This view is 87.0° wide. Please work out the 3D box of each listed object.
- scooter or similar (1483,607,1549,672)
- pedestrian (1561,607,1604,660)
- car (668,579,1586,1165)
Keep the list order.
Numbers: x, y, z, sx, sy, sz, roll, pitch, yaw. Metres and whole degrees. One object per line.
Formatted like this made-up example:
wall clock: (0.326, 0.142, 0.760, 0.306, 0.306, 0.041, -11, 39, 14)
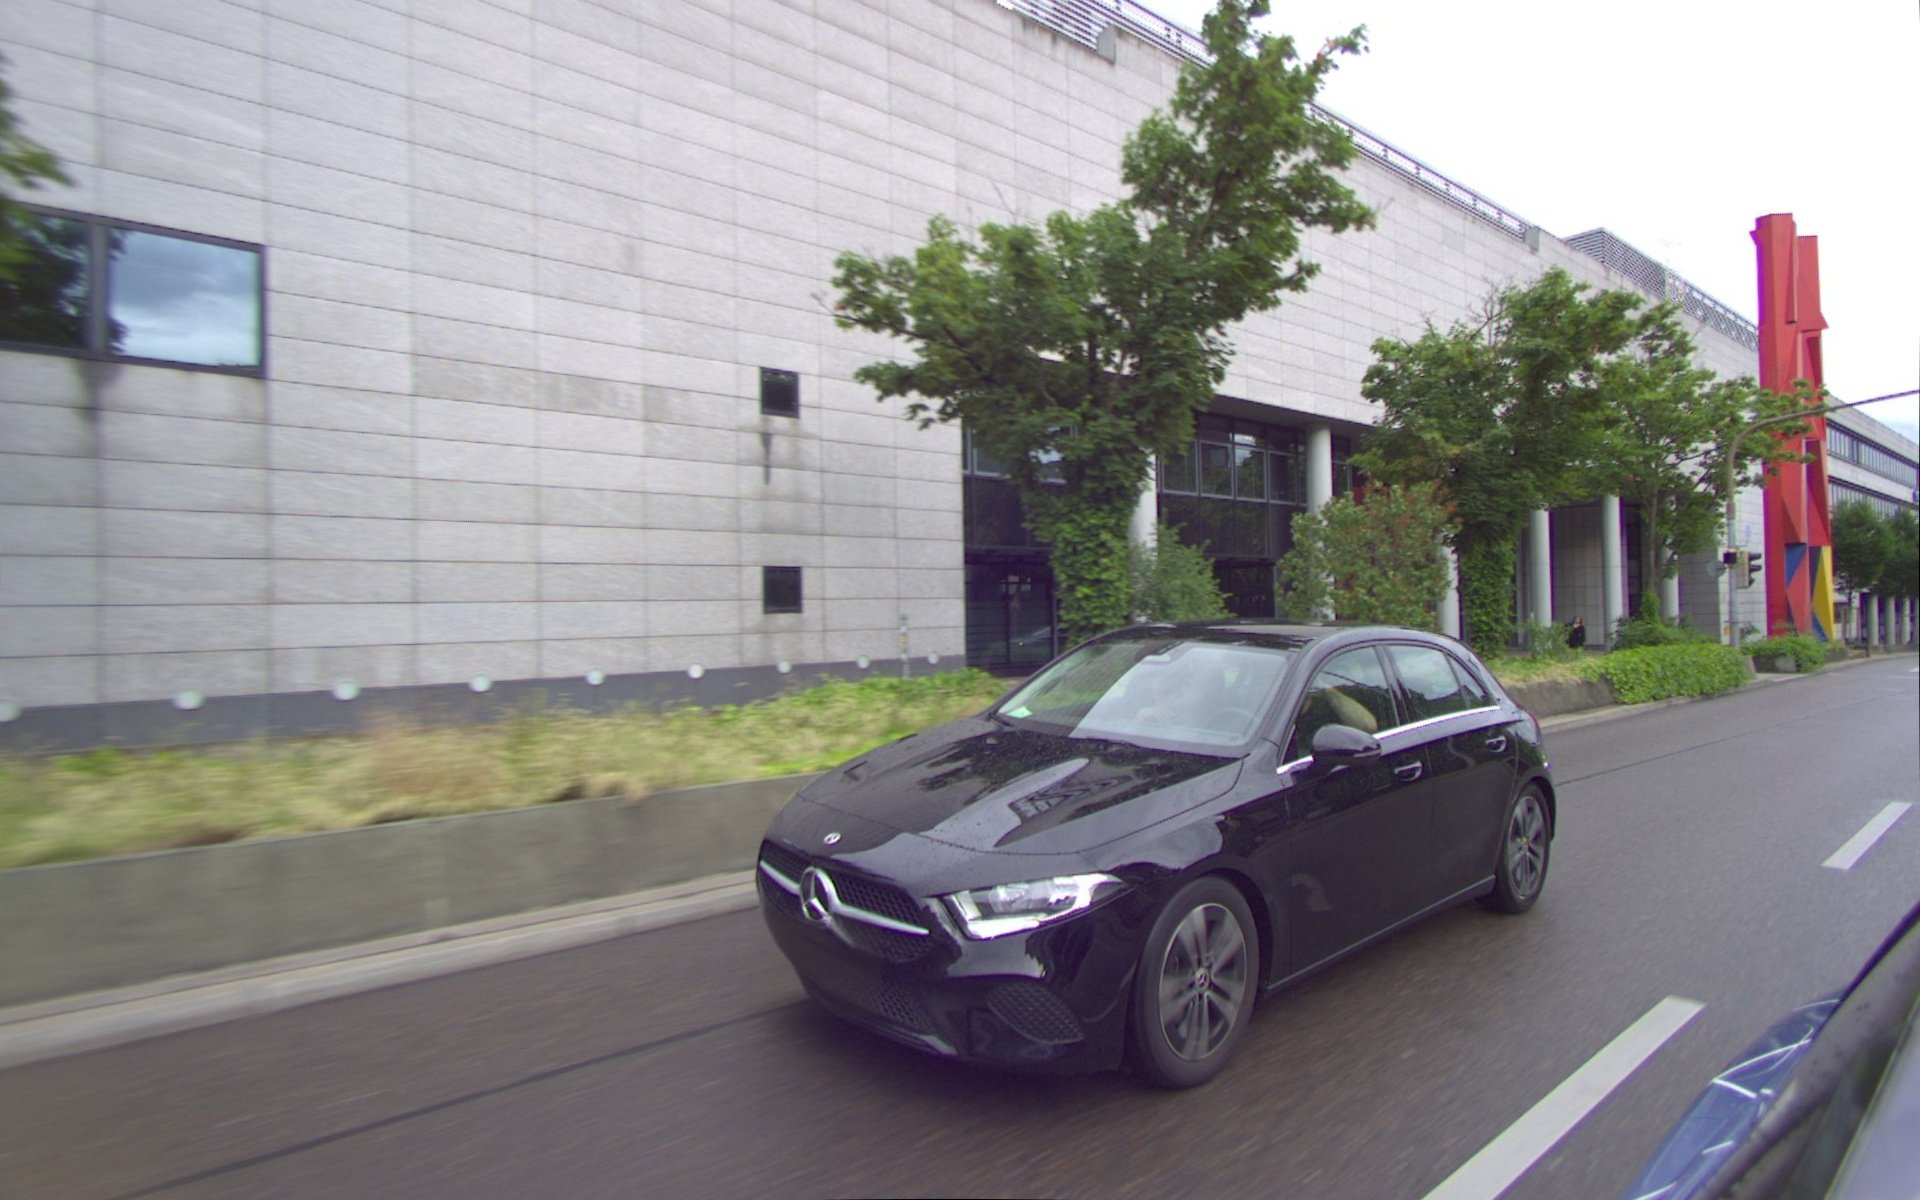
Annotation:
scooter or similar: (13.675, 0.974, 24.914, 0.493, 1.551, 1.326, 2, -3, -37)
pedestrian: (19.380, 1.023, 31.512, 0.828, 1.606, 0.971, 2, -1, -43)
car: (1.040, 0.738, 4.589, 4.130, 1.455, 1.876, 2, -2, -40)
